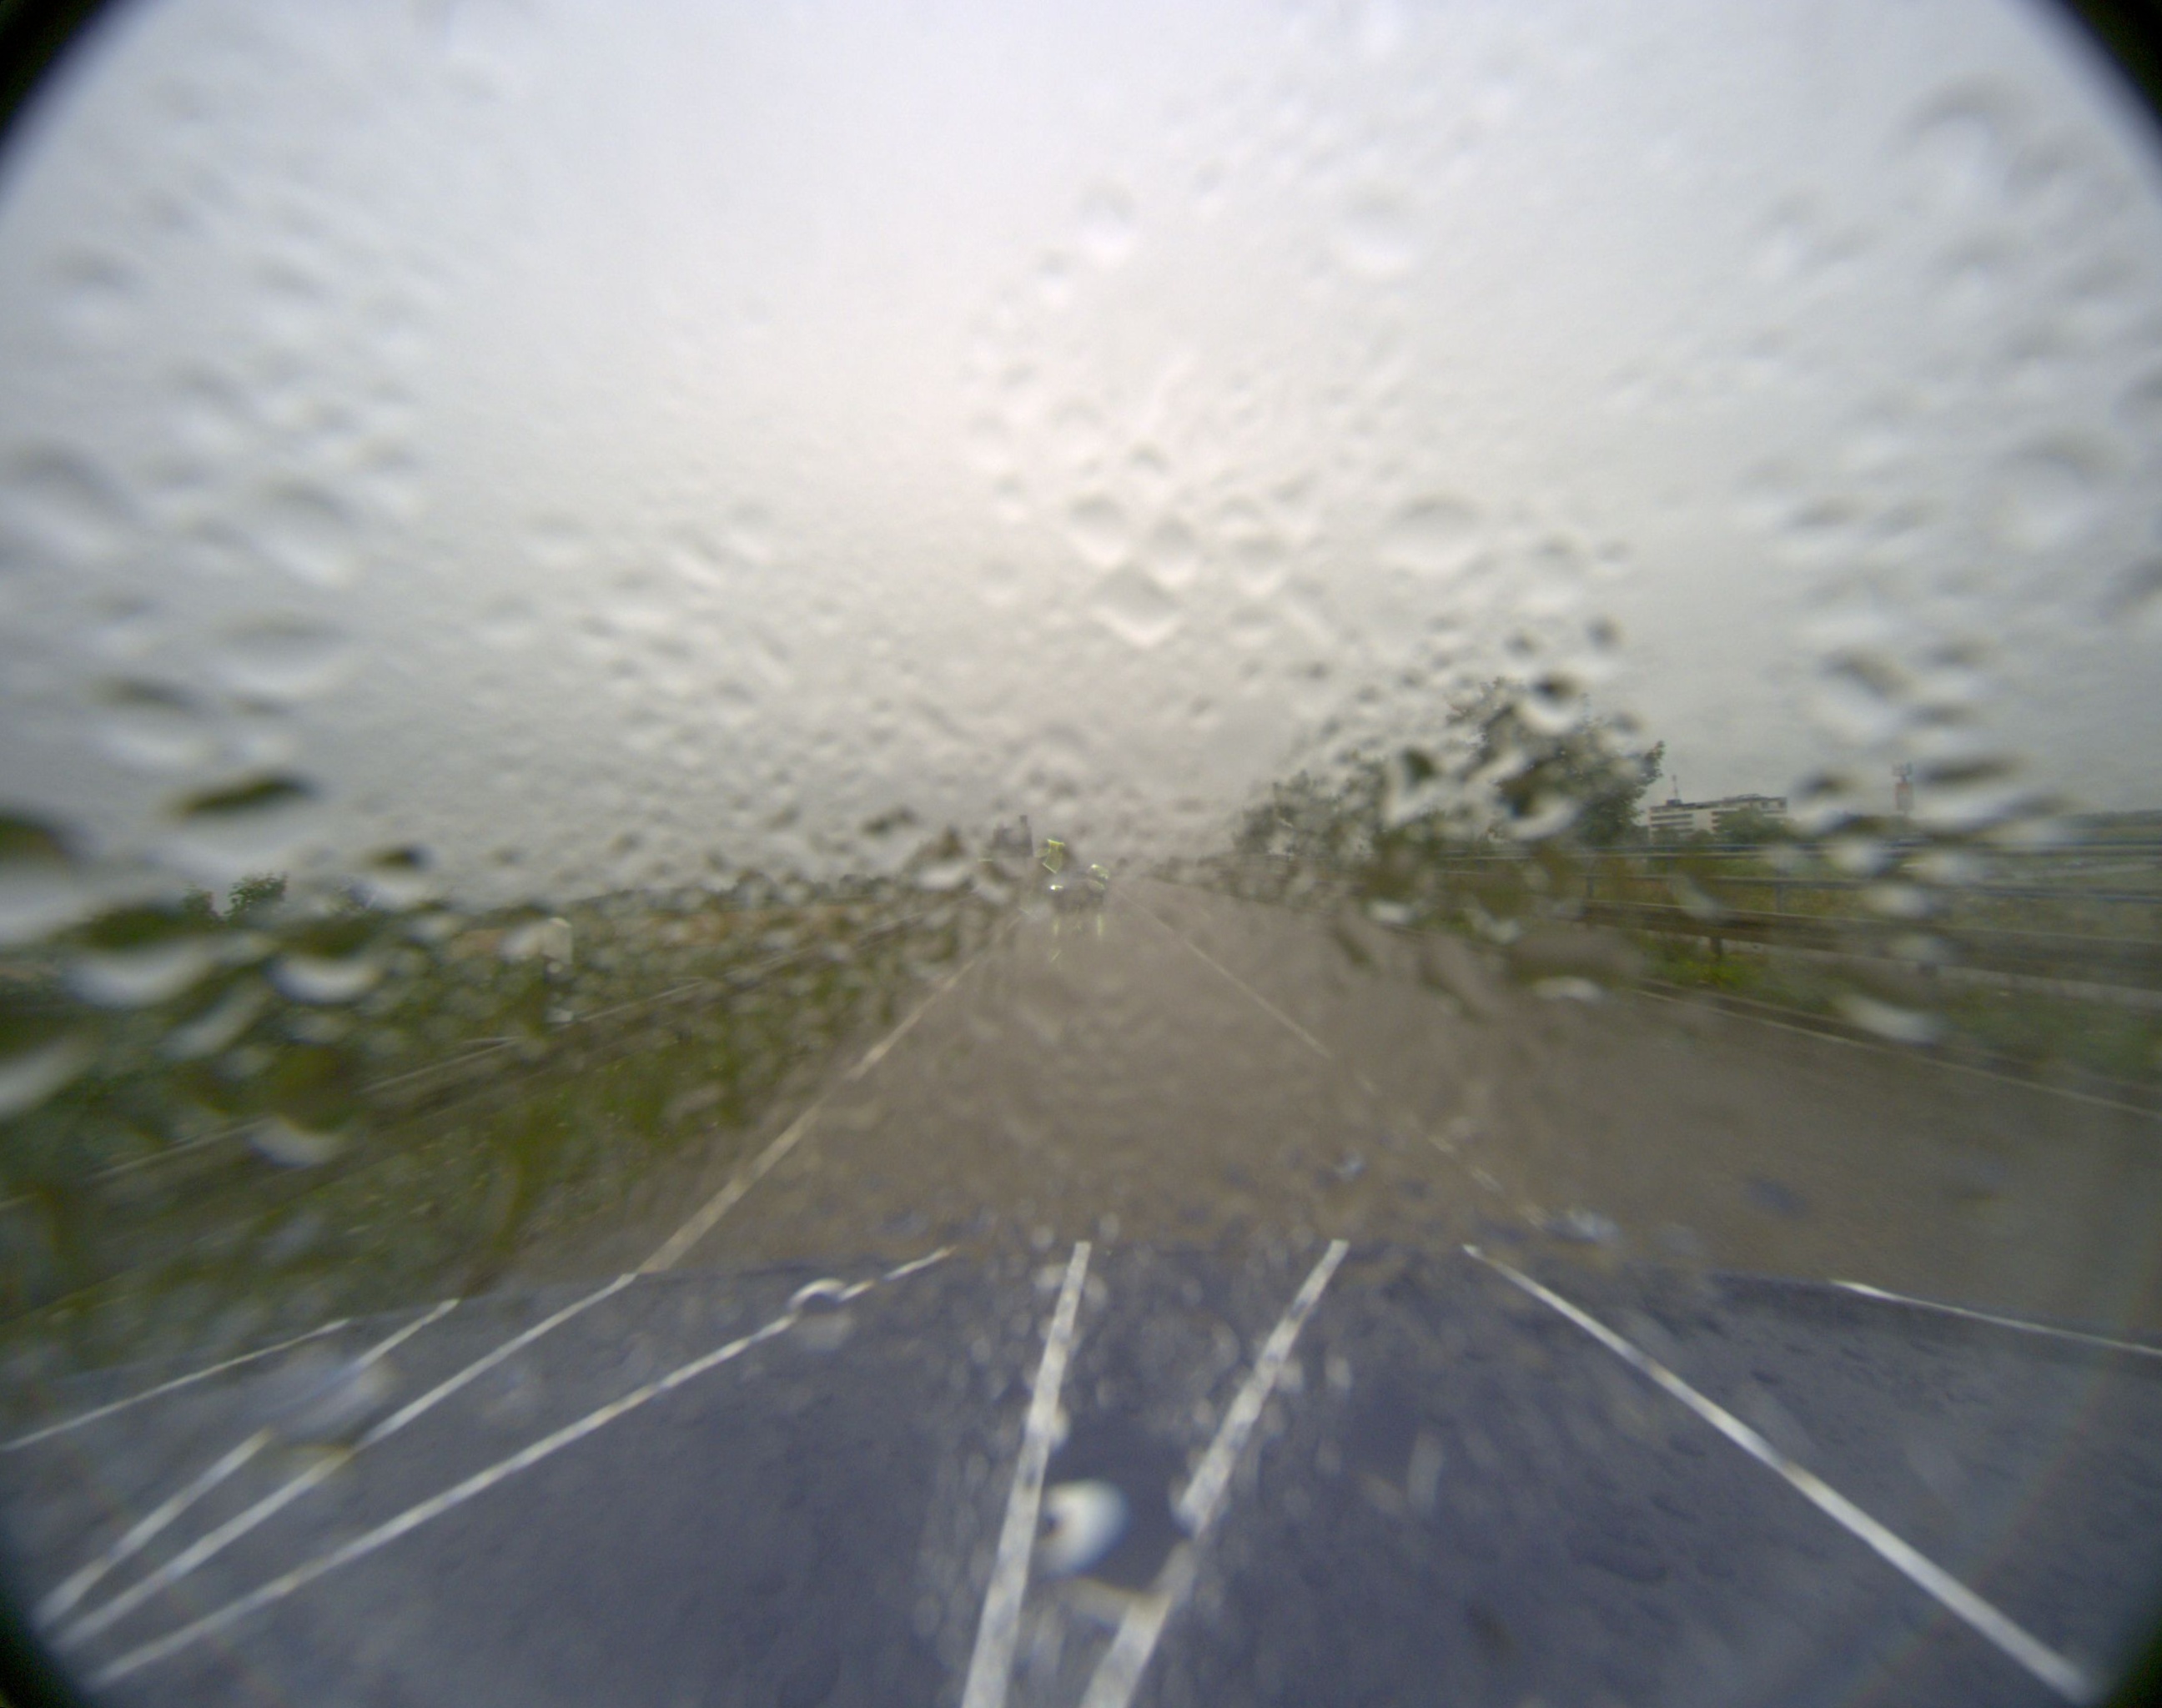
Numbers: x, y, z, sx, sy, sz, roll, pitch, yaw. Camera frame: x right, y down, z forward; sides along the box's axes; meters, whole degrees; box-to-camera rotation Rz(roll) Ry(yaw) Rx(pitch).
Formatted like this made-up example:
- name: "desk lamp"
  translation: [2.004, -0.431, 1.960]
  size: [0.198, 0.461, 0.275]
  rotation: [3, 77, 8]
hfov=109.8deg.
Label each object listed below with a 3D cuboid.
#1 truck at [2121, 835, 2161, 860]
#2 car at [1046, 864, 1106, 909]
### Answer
- name: "truck"
  translation: [184.922, -1.139, 130.080]
  size: [11.529, 3.922, 3.350]
  rotation: [-2, 0, -10]
- name: "car"
  translation: [-0.125, 1.095, 27.008]
  size: [1.909, 1.361, 4.565]
  rotation: [-2, -1, 1]
